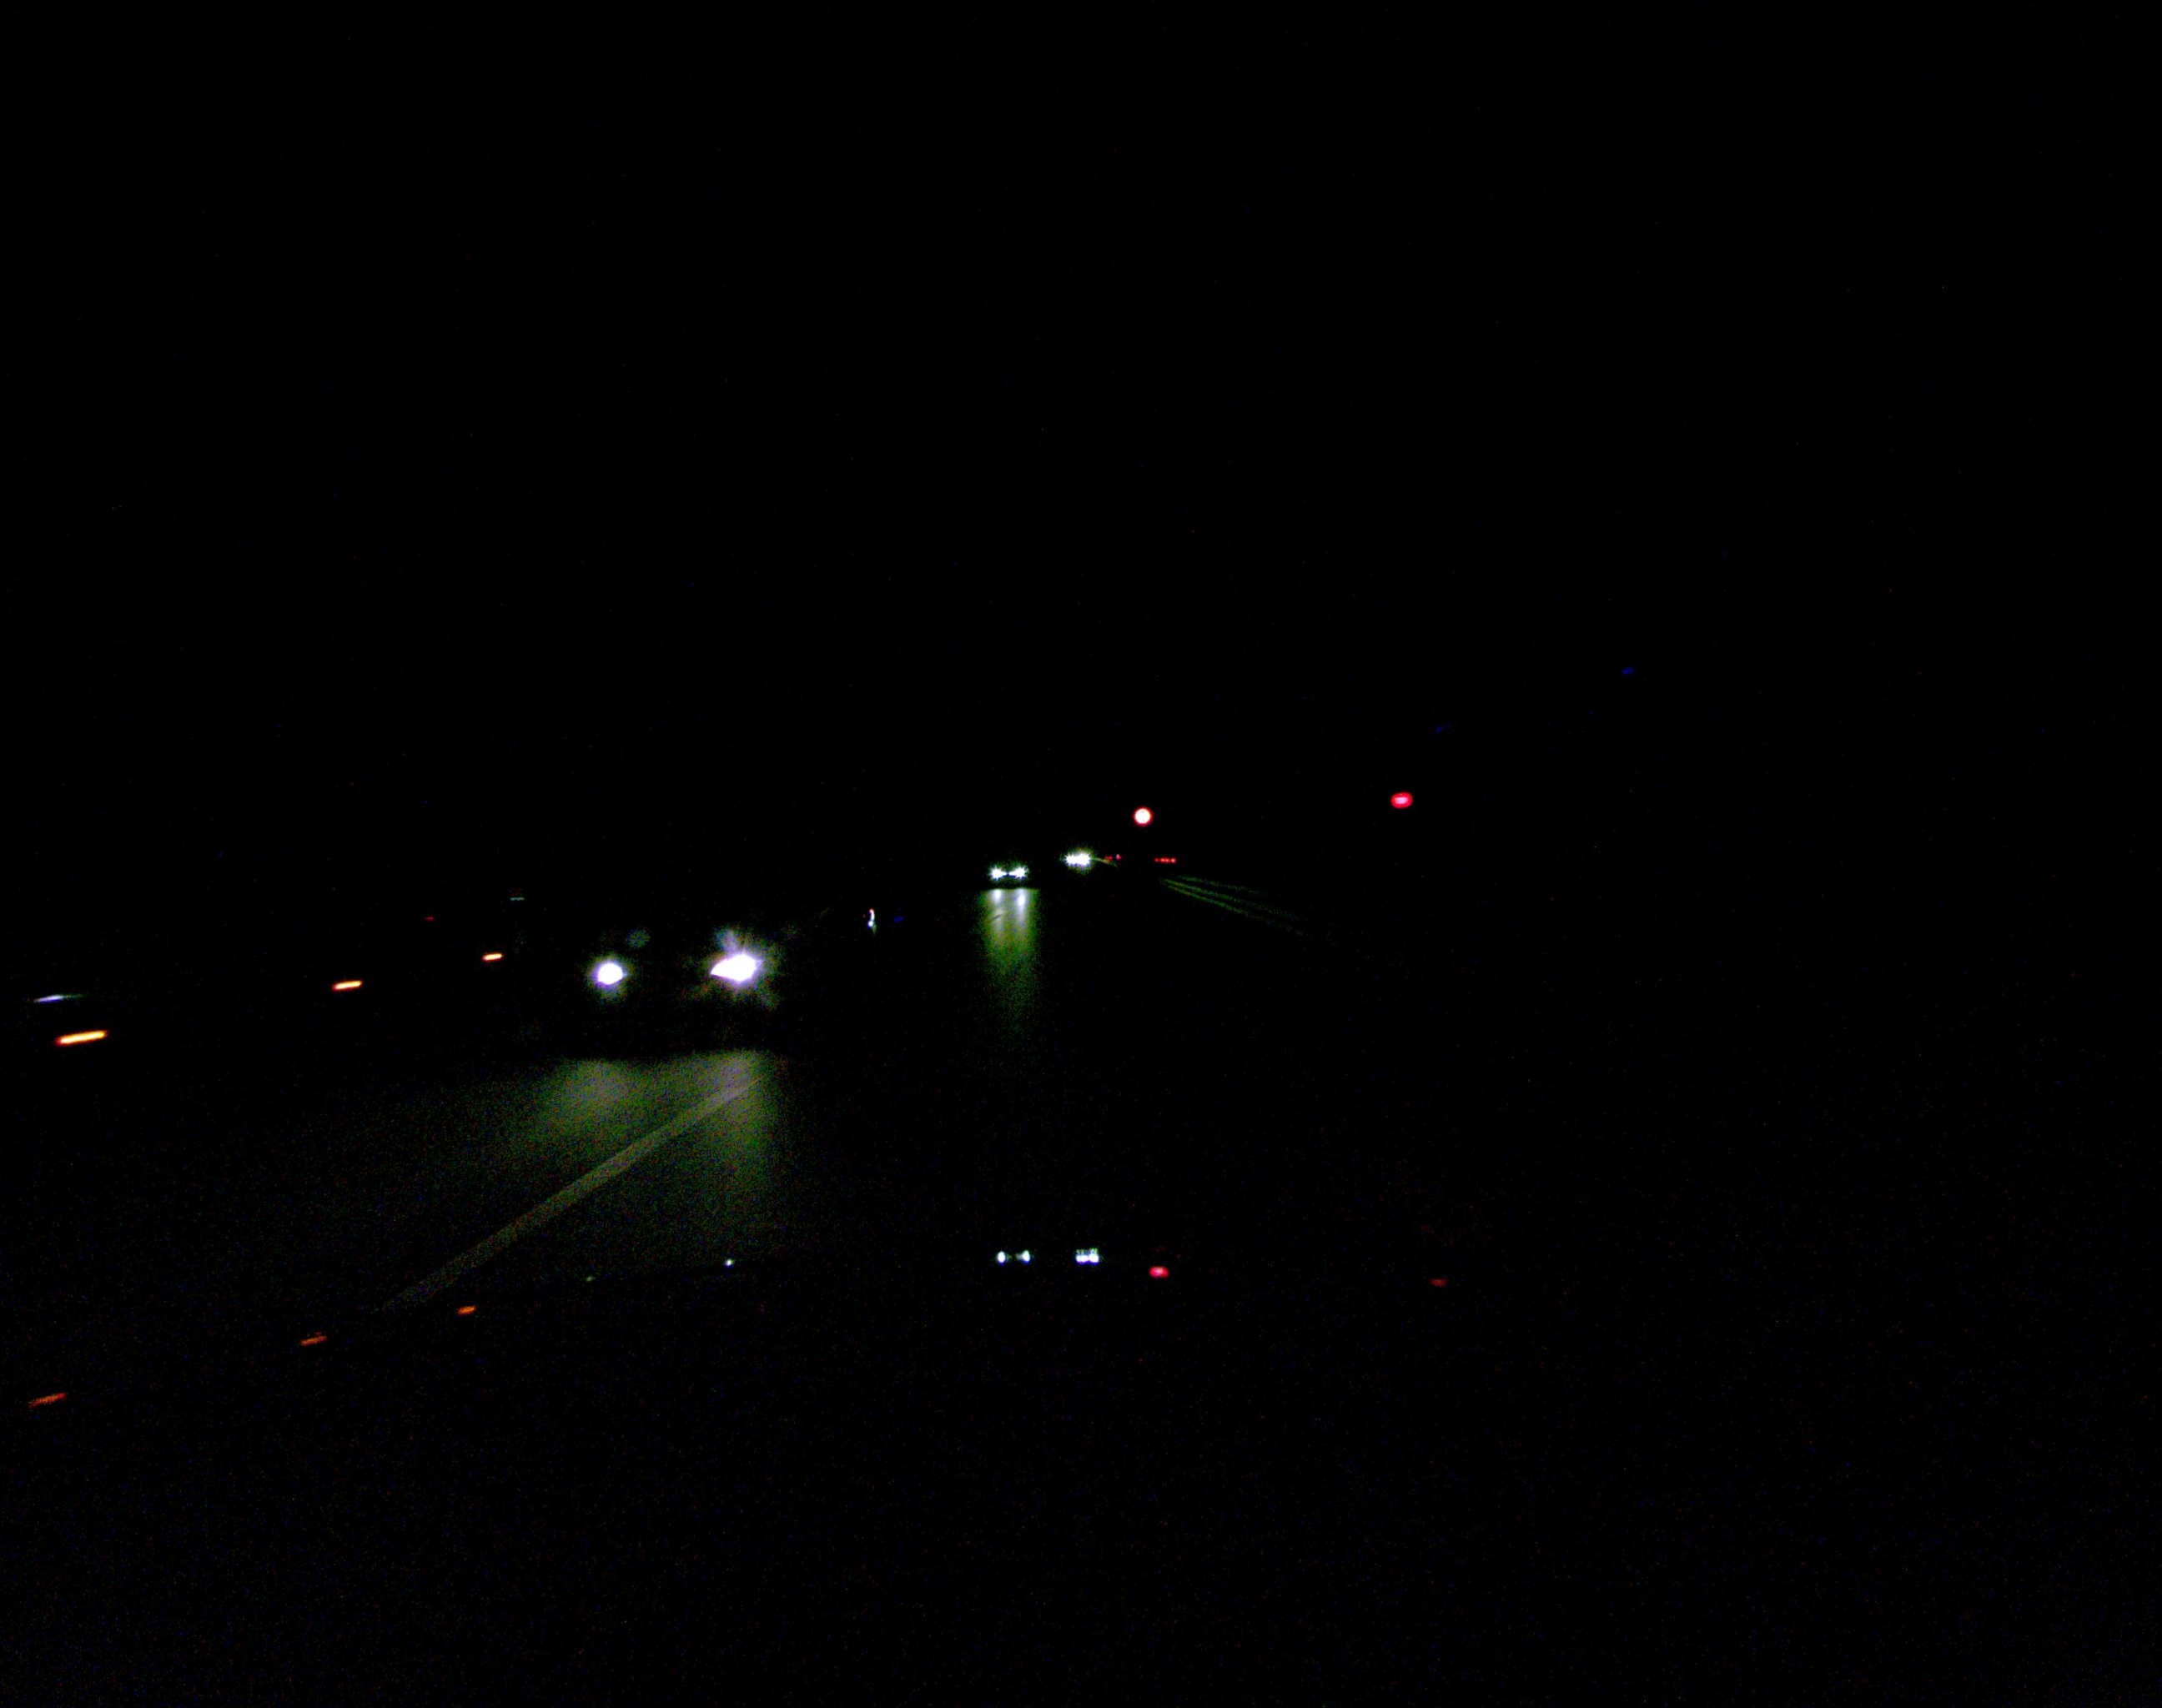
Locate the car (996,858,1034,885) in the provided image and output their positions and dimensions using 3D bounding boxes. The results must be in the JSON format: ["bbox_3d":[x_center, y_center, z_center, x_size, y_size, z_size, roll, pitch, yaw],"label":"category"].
[{"bbox_3d":[-3.908,1.002,45.472,1.795,1.532,4.225,-1,0,1],"label":"car"}]

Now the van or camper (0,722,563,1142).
[{"bbox_3d":[-8.201,0.544,6.913,2.212,2.755,6.804,-2,0,0],"label":"van or camper"}]

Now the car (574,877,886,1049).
[{"bbox_3d":[-3.758,1.064,9.079,1.690,1.405,4.225,-1,0,1],"label":"car"}]

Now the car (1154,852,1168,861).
[{"bbox_3d":[14.245,0.435,135.849,1.998,1.542,5.004,2,0,0],"label":"car"}]
